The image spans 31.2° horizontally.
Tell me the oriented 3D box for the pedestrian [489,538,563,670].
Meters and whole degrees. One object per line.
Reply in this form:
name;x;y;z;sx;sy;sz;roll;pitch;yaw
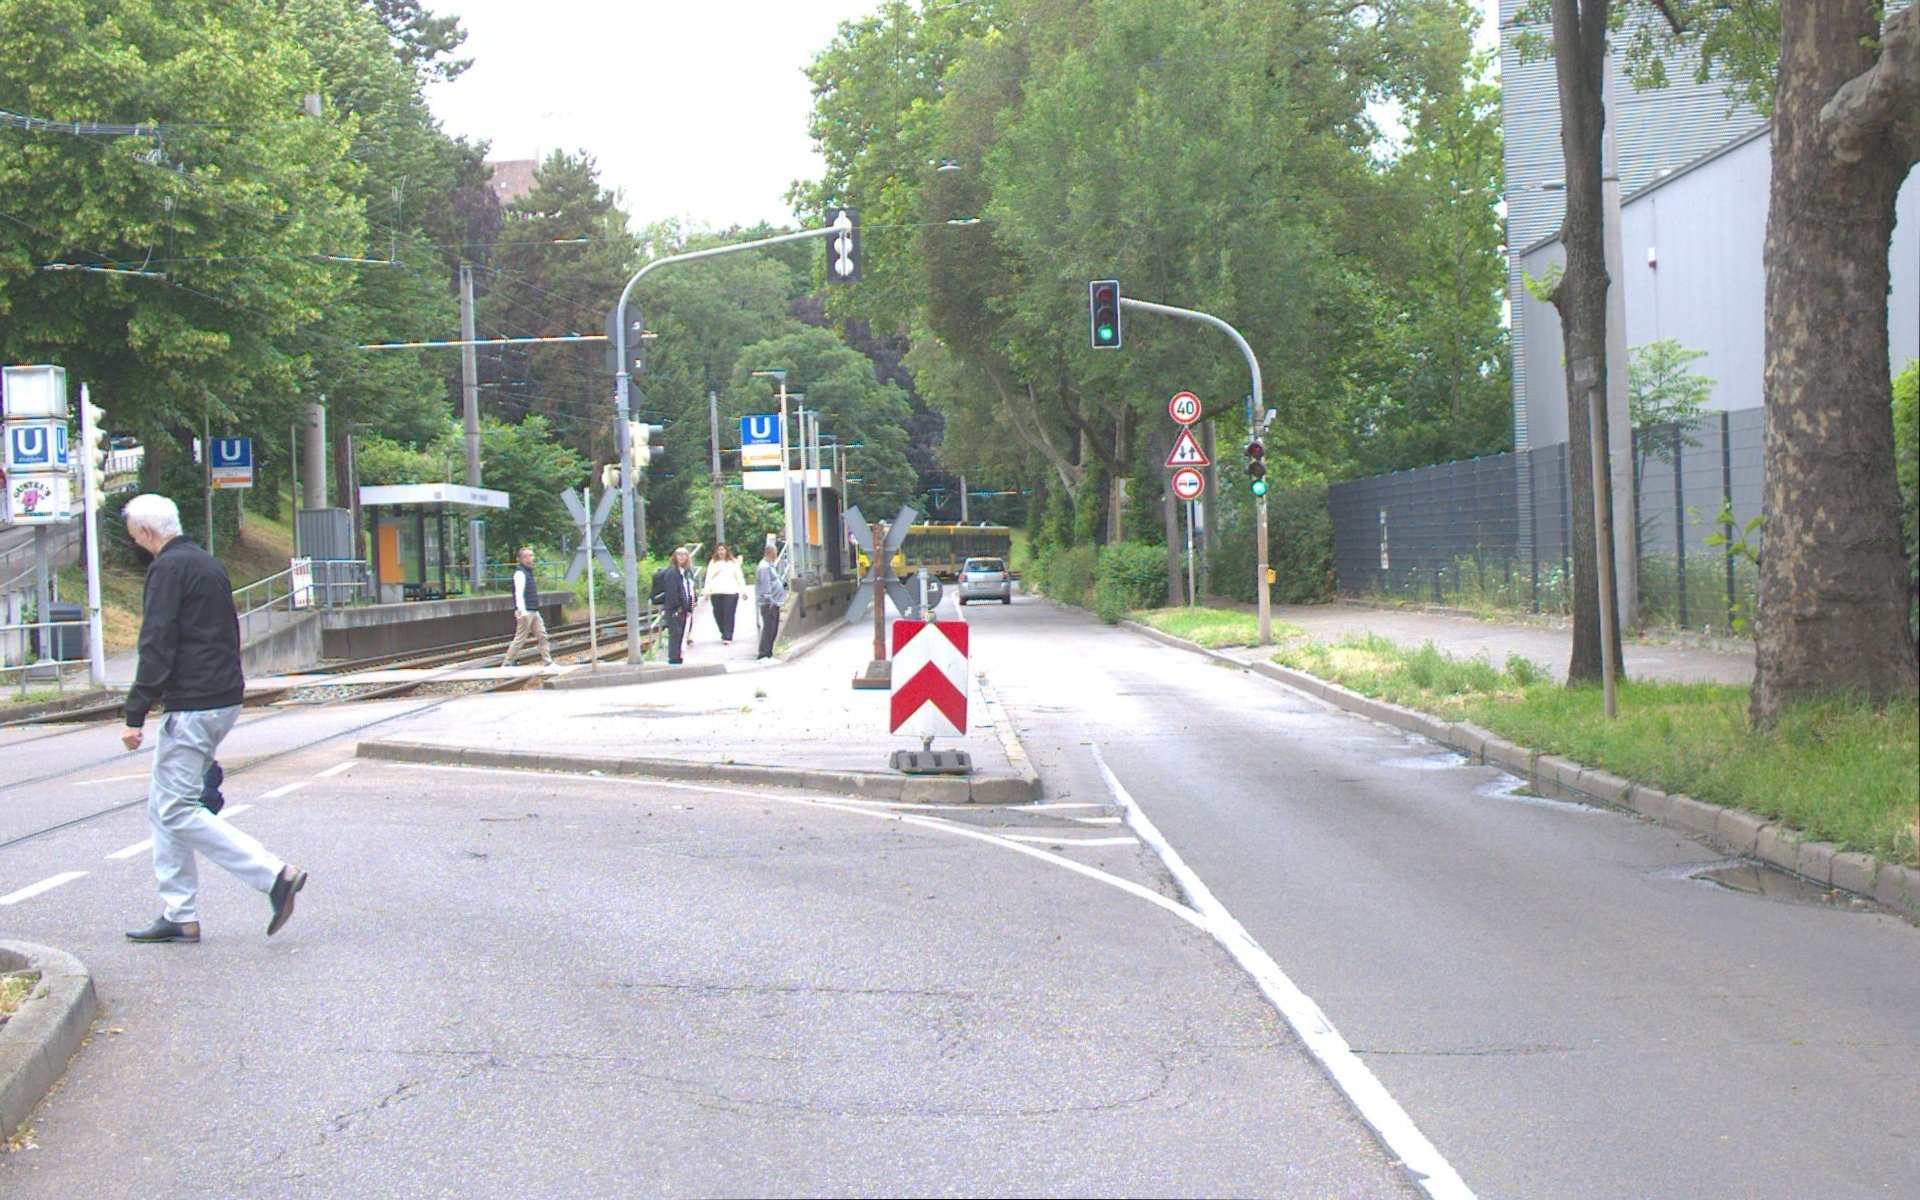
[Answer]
pedestrian;-5.994;0.054;47.512;0.802;1.815;0.670;1;0;-29

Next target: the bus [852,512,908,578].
bus;-4.526;-3.113;195.377;2.734;3.614;8.942;1;1;1

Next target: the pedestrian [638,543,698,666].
pedestrian;-3.991;0.061;47.021;0.735;1.659;0.682;1;0;1

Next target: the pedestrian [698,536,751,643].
pedestrian;-3.707;-0.164;54.041;0.735;1.659;0.682;1;0;-11

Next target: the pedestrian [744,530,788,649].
pedestrian;-2.865;-0.158;50.794;0.550;1.752;0.737;1;0;4

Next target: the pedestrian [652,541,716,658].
pedestrian;-3.971;-0.008;49.471;0.680;1.659;0.737;1;0;15

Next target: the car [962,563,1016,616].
car;0.980;-0.375;118.025;1.743;1.593;4.001;0;3;-1

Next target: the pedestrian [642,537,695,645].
pedestrian;-4.522;-0.140;53.362;0.735;1.659;0.682;1;0;-11

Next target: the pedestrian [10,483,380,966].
pedestrian;-2.918;0.441;13.122;1.119;1.754;0.812;1;1;32
